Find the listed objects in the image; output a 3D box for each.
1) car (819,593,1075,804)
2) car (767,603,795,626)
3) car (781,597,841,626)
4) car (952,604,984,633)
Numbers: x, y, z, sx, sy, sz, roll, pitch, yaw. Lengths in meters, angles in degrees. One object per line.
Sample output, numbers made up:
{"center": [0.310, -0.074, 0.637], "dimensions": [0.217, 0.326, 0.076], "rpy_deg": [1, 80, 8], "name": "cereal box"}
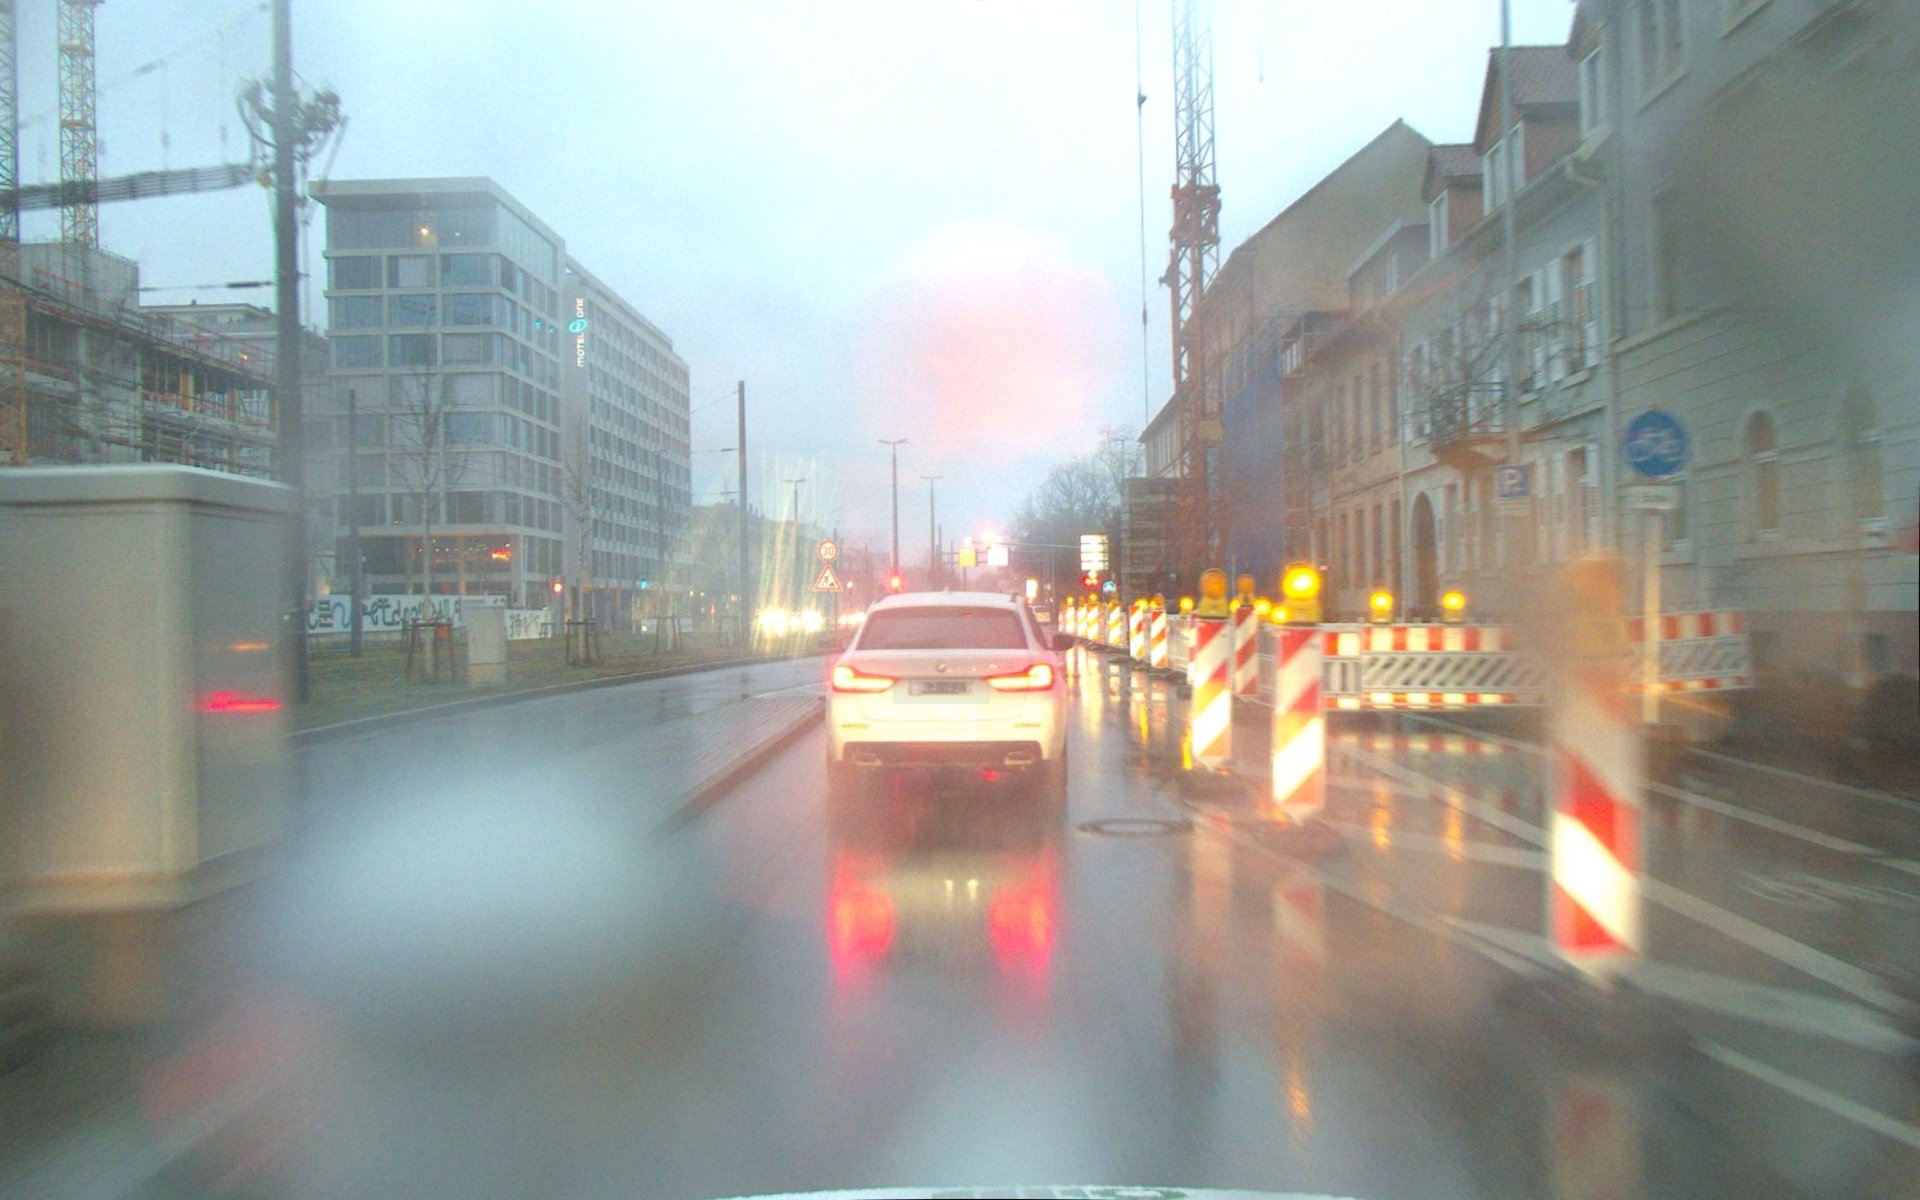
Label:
{"center": [-0.059, 0.711, 14.200], "dimensions": [1.814, 1.491, 4.947], "rpy_deg": [0, 0, 1], "name": "car"}
{"center": [-16.242, 1.323, 150.086], "dimensions": [1.952, 2.049, 4.538], "rpy_deg": [-1, -1, 1], "name": "car"}
{"center": [-10.484, 0.775, 116.313], "dimensions": [3.924, 2.010, 1.990], "rpy_deg": [0, -1, -18], "name": "car"}
{"center": [0.499, 1.093, 98.966], "dimensions": [1.861, 1.670, 4.001], "rpy_deg": [0, 0, 1], "name": "car"}
